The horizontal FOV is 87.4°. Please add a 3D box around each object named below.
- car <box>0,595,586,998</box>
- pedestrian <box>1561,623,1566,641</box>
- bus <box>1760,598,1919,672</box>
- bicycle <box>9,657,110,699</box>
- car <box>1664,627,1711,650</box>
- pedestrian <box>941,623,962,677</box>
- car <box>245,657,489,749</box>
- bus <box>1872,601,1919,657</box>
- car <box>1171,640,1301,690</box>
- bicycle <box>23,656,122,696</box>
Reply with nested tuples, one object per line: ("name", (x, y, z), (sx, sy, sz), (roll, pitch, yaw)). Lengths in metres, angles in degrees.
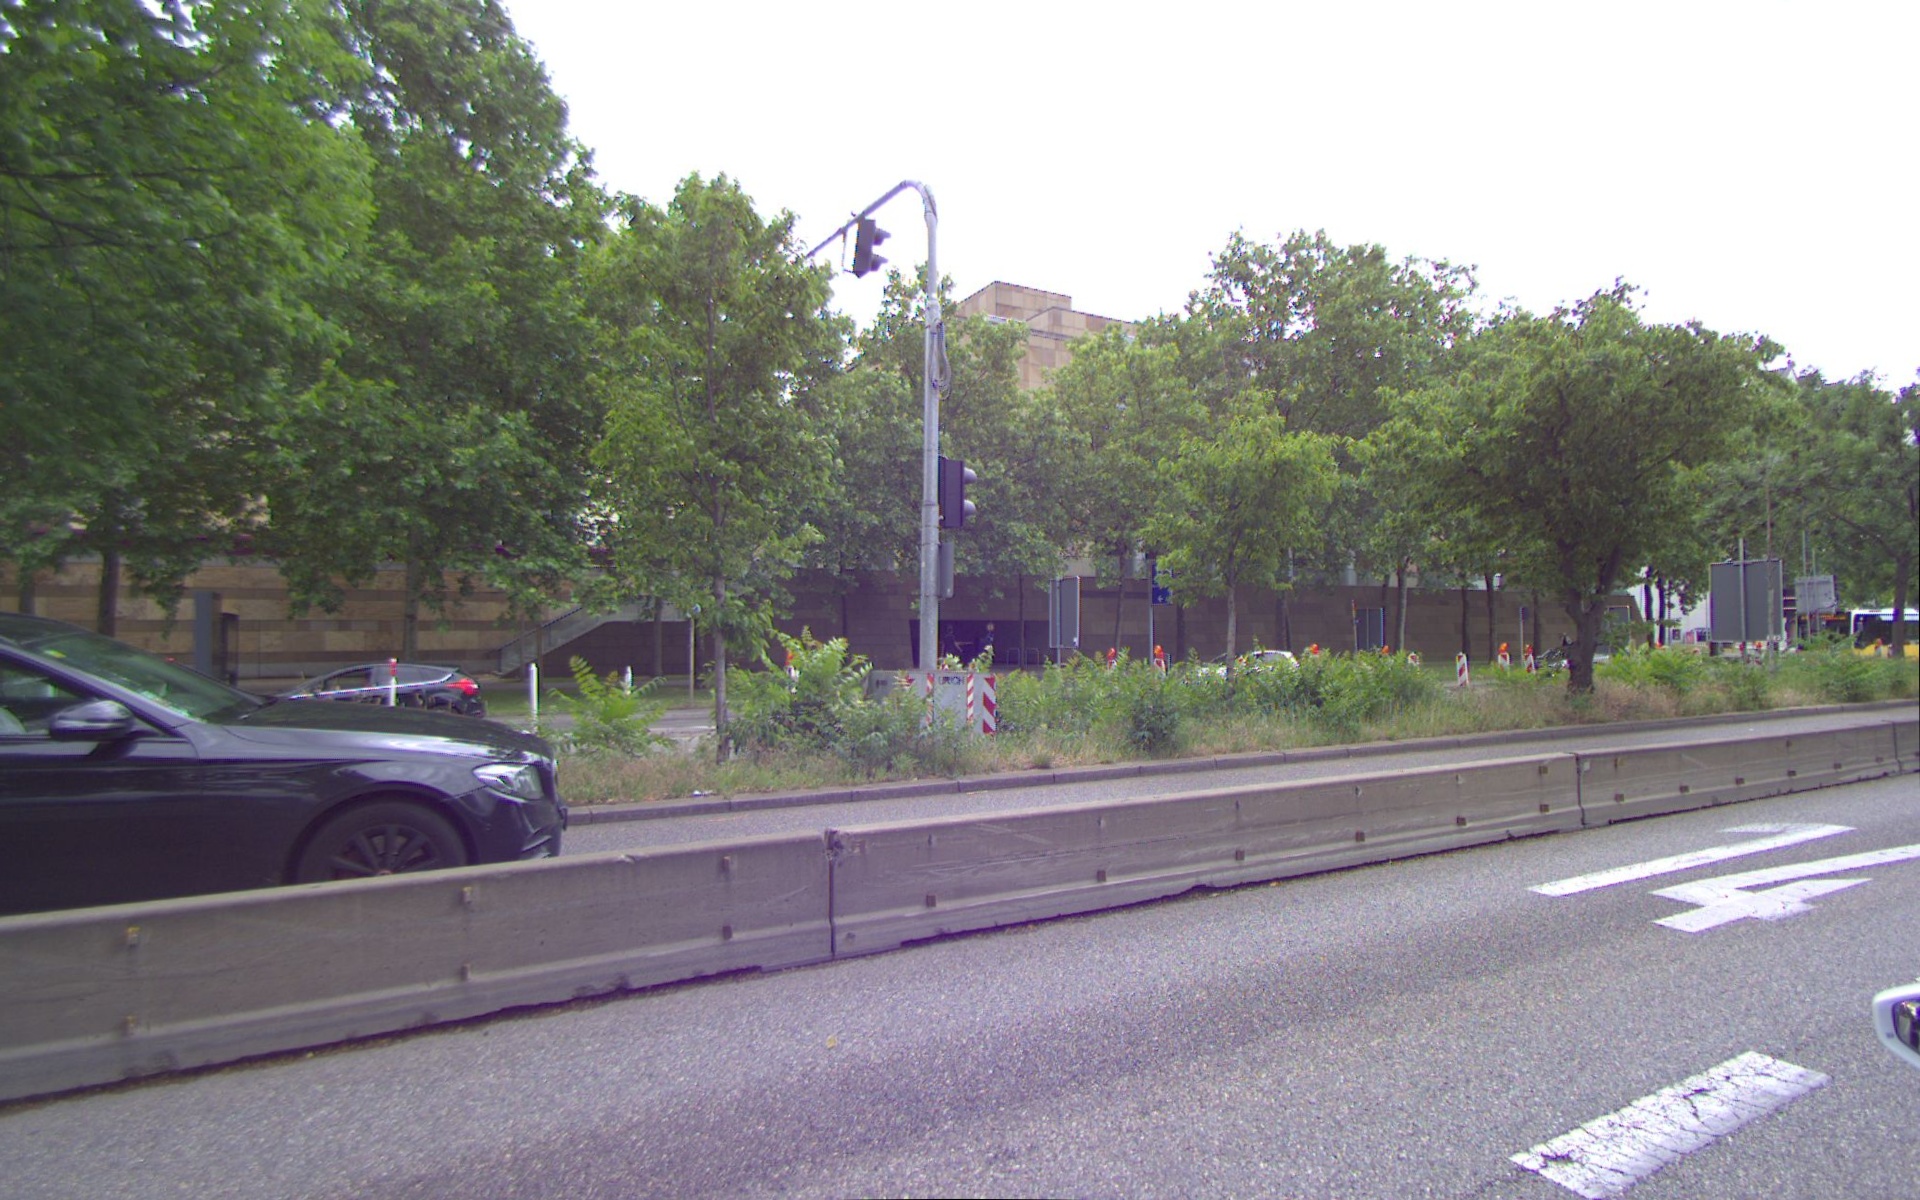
("car", (-4.289, 0.753, 4.442), (4.712, 1.519, 1.808), (2, -2, -30))
("pedestrian", (36.526, 1.925, 60.781), (0.212, 1.093, 0.257), (1, 0, 43))
("bus", (49.235, 1.763, 54.802), (14.098, 3.248, 3.652), (-2, -1, -29))
("bicycle", (-22.915, 1.973, 25.589), (1.820, 1.008, 0.487), (2, 0, -25))
("car", (64.421, 3.408, 88.946), (3.953, 1.940, 1.984), (1, -2, -30))
("pedestrian", (-0.336, 1.876, 37.806), (0.657, 2.040, 0.449), (1, -2, -30))
("car", (-10.984, 1.854, 18.808), (3.755, 1.461, 1.722), (1, -2, -31))
("bus", (61.203, 1.764, 61.500), (14.100, 3.247, 3.652), (1, -2, -29))
("car", (8.368, 1.917, 30.353), (3.759, 1.401, 1.652), (1, -2, -30))
("bicycle", (-23.167, 1.972, 26.246), (1.820, 1.004, 0.564), (2, 0, -25))
